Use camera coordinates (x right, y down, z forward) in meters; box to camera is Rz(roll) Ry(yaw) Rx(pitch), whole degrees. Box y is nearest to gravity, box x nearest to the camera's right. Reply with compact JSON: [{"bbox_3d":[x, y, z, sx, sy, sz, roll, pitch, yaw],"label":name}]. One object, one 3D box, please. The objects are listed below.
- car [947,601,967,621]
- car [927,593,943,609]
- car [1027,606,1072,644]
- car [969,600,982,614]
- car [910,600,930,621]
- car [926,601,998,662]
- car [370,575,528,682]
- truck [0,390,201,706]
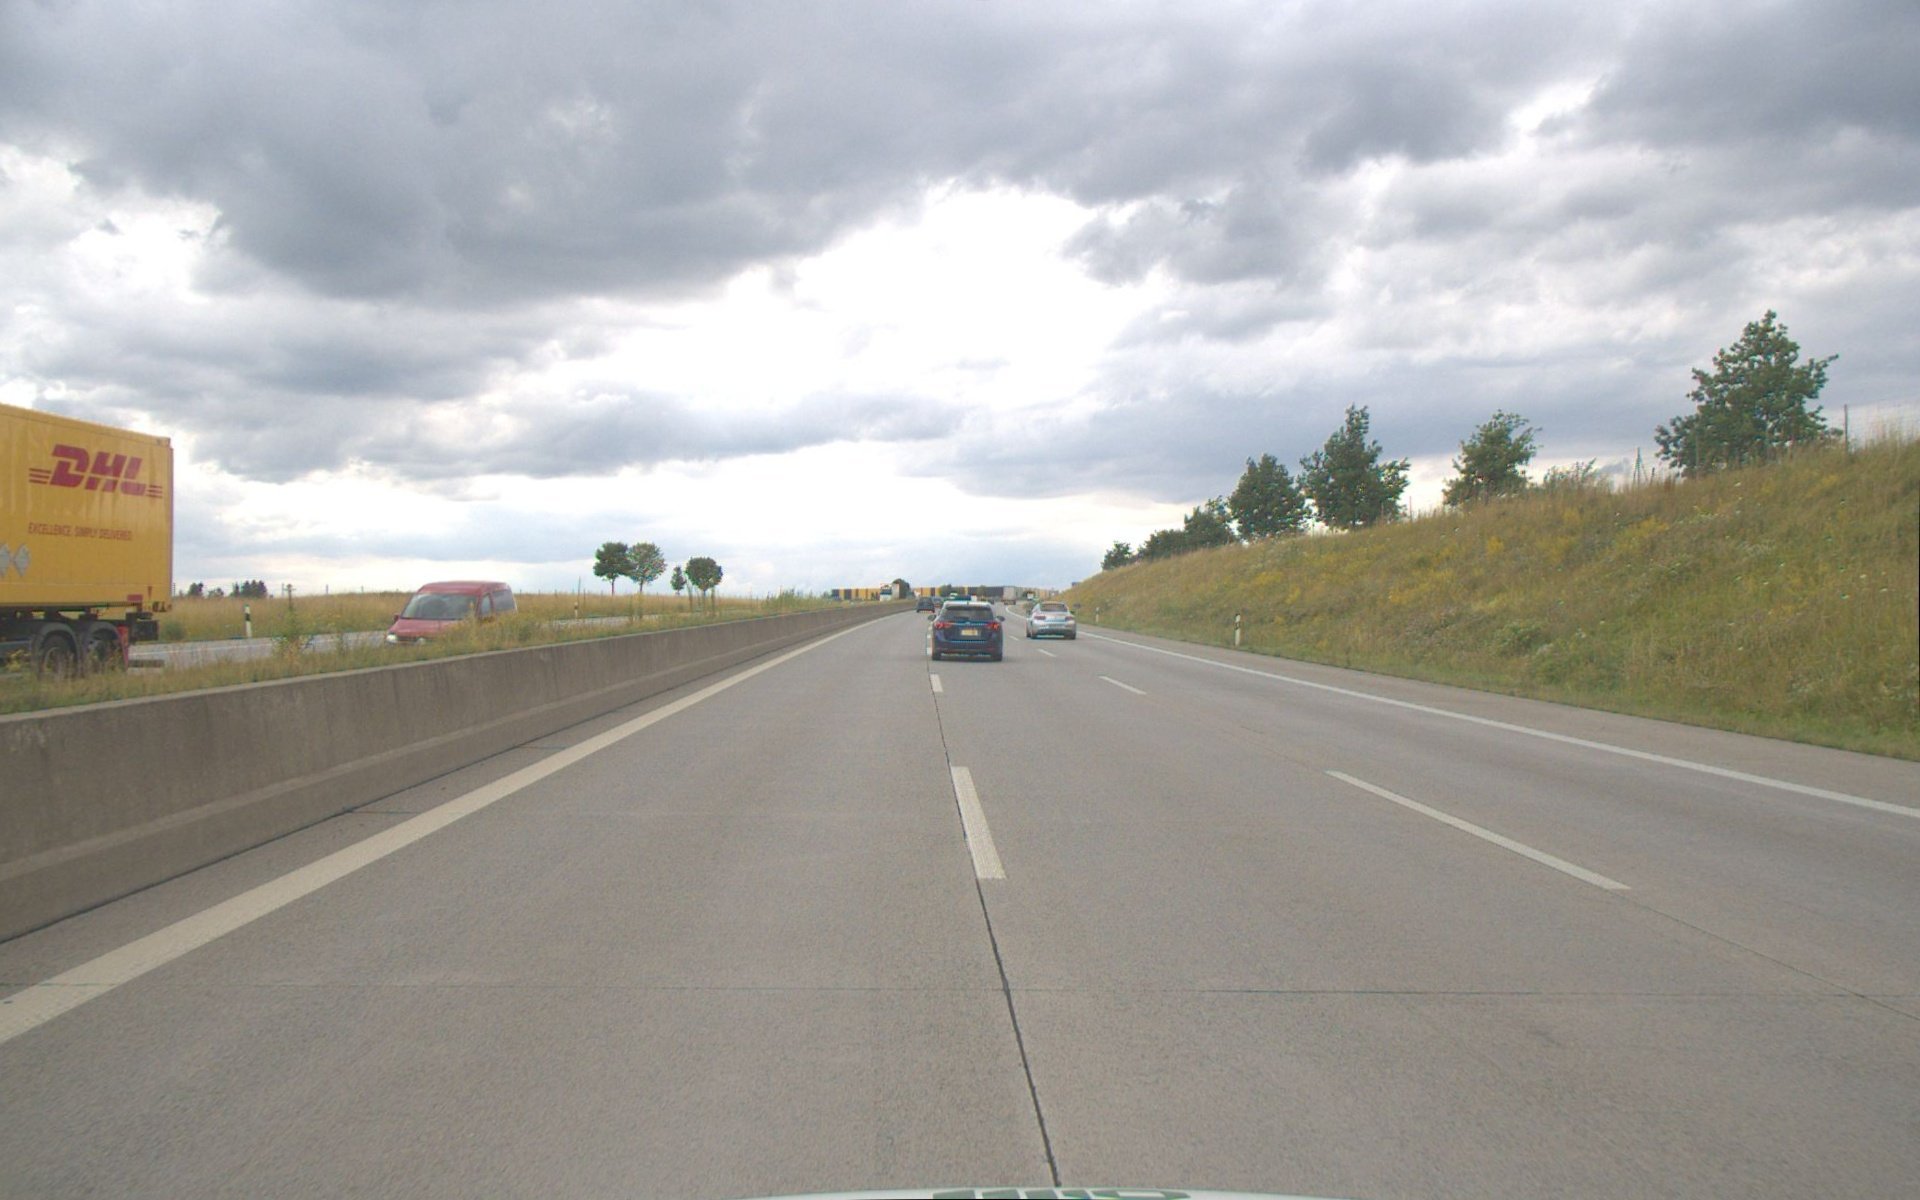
[{"bbox_3d":[-0.296,1.164,170.583,1.953,2.049,3.998,1,-1,-2],"label":"car"},{"bbox_3d":[-3.315,0.175,220.811,1.953,2.049,3.998,1,-1,-2],"label":"car"},{"bbox_3d":[3.541,0.978,65.909,1.751,1.428,4.222,0,0,2],"label":"car"},{"bbox_3d":[2.436,1.141,262.139,1.952,2.049,4.001,1,-1,3],"label":"car"},{"bbox_3d":[-4.073,1.104,167.367,2.005,2.049,3.998,1,-1,-2],"label":"car"},{"bbox_3d":[0.077,0.764,41.649,1.738,1.438,4.000,0,0,1],"label":"car"},{"bbox_3d":[-10.380,0.572,34.019,1.776,1.997,5.337,1,-1,-3],"label":"car"},{"bbox_3d":[-13.875,-0.683,22.223,2.759,4.109,10.564,0,0,-2],"label":"truck"}]
